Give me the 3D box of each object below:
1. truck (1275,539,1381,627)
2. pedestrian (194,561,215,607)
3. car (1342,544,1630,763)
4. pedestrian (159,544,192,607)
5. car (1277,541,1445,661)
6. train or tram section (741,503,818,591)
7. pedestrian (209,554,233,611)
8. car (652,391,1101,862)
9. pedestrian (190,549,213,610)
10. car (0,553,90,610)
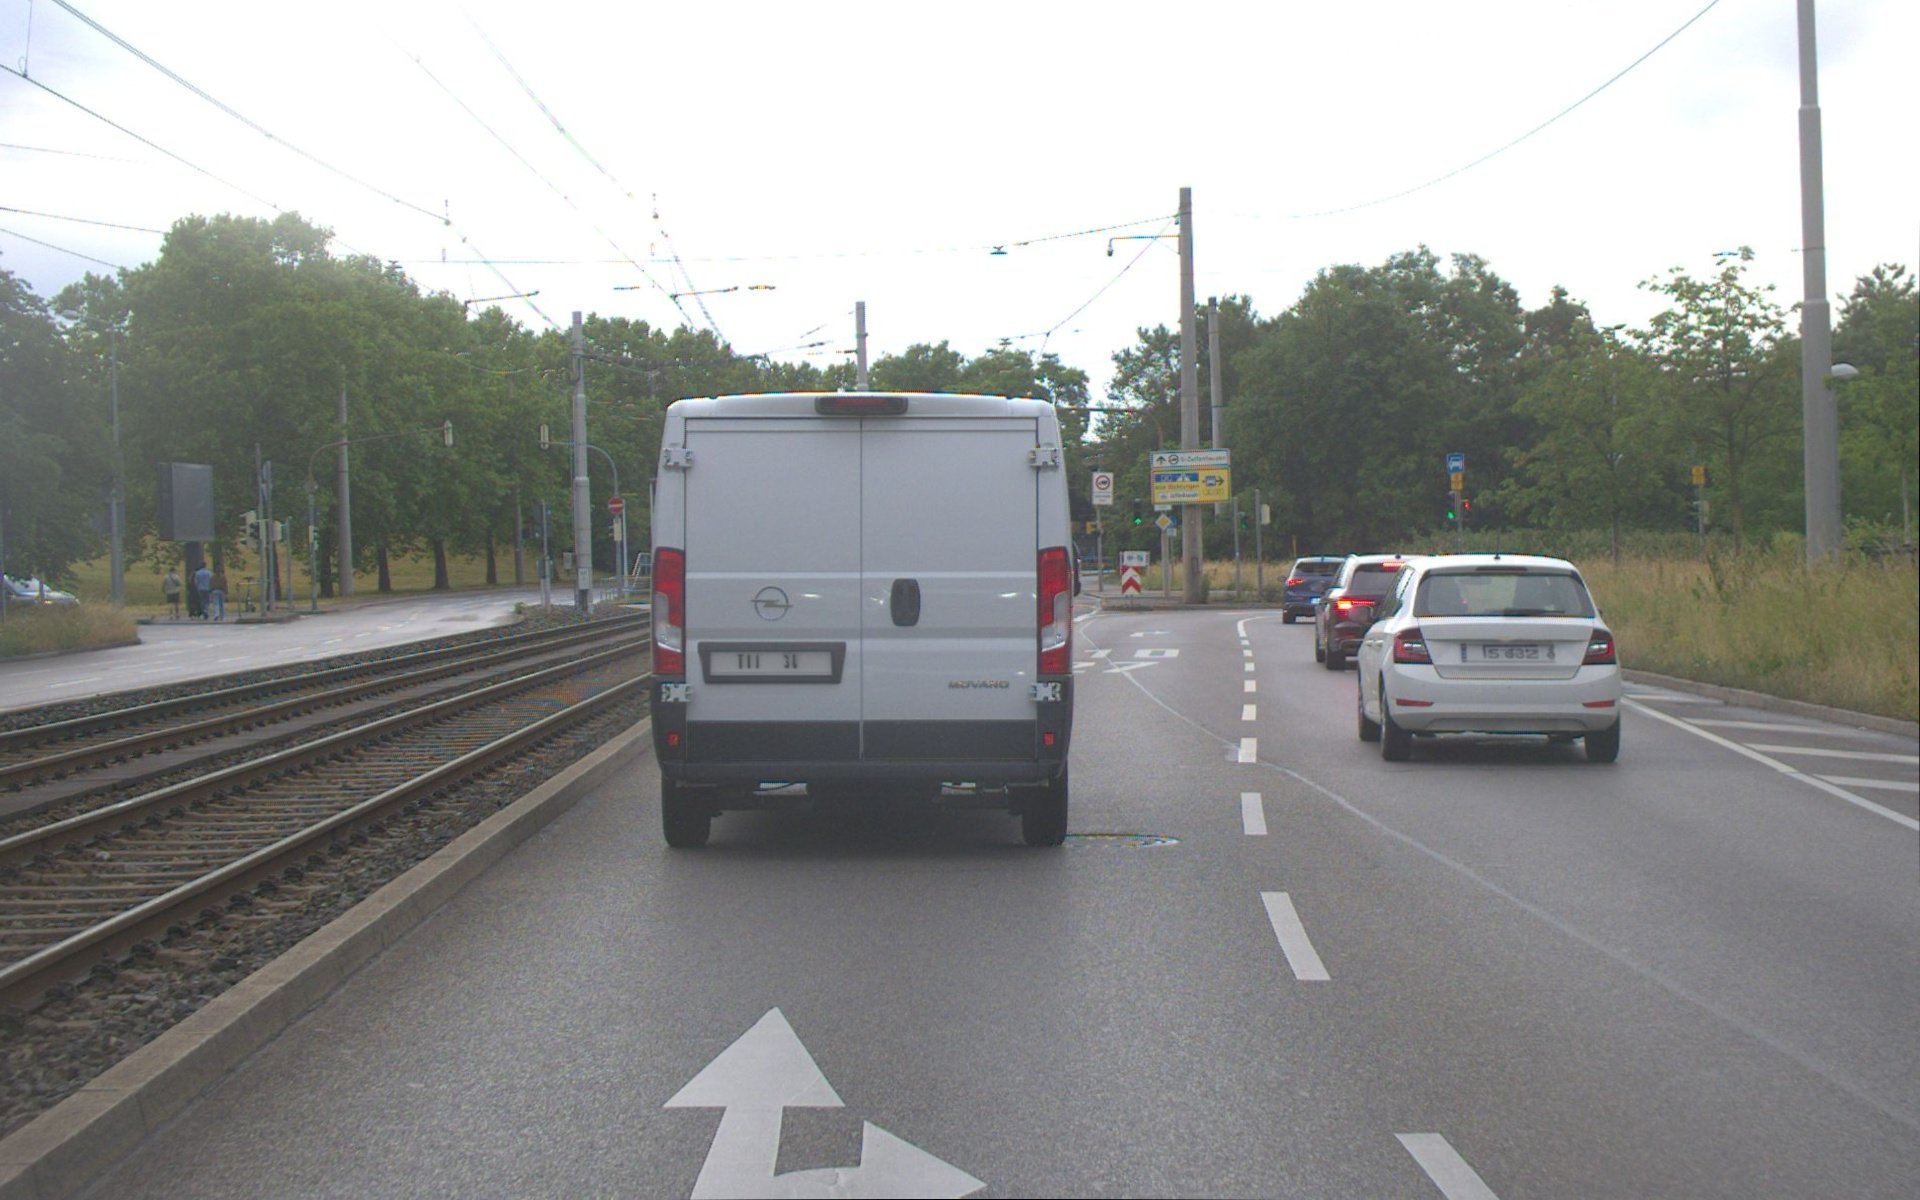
[{"bbox_3d":[8.148,-0.397,75.856,1.994,1.784,4.412,-2,1,10],"label":"truck"},{"bbox_3d":[-24.400,-0.528,111.045,0.496,1.468,0.722,1,1,2],"label":"pedestrian"},{"bbox_3d":[3.791,0.334,25.310,1.747,1.452,3.671,1,1,4],"label":"car"},{"bbox_3d":[-25.294,-0.787,110.888,0.887,2.007,0.866,-1,1,-5],"label":"pedestrian"},{"bbox_3d":[4.989,-0.008,43.212,1.789,1.444,4.000,0,1,2],"label":"car"},{"bbox_3d":[-8.246,-2.430,158.023,2.928,3.919,7.005,1,1,2],"label":"train or tram section"},{"bbox_3d":[-23.480,-0.559,109.232,0.506,1.781,0.832,1,1,4],"label":"pedestrian"},{"bbox_3d":[-0.479,0.069,18.616,2.090,2.189,5.062,0,1,-2],"label":"car"},{"bbox_3d":[-24.155,-0.656,109.461,0.496,1.949,0.722,1,1,4],"label":"pedestrian"},{"bbox_3d":[-29.814,-0.576,108.434,4.625,1.726,1.996,0,2,33],"label":"car"}]
